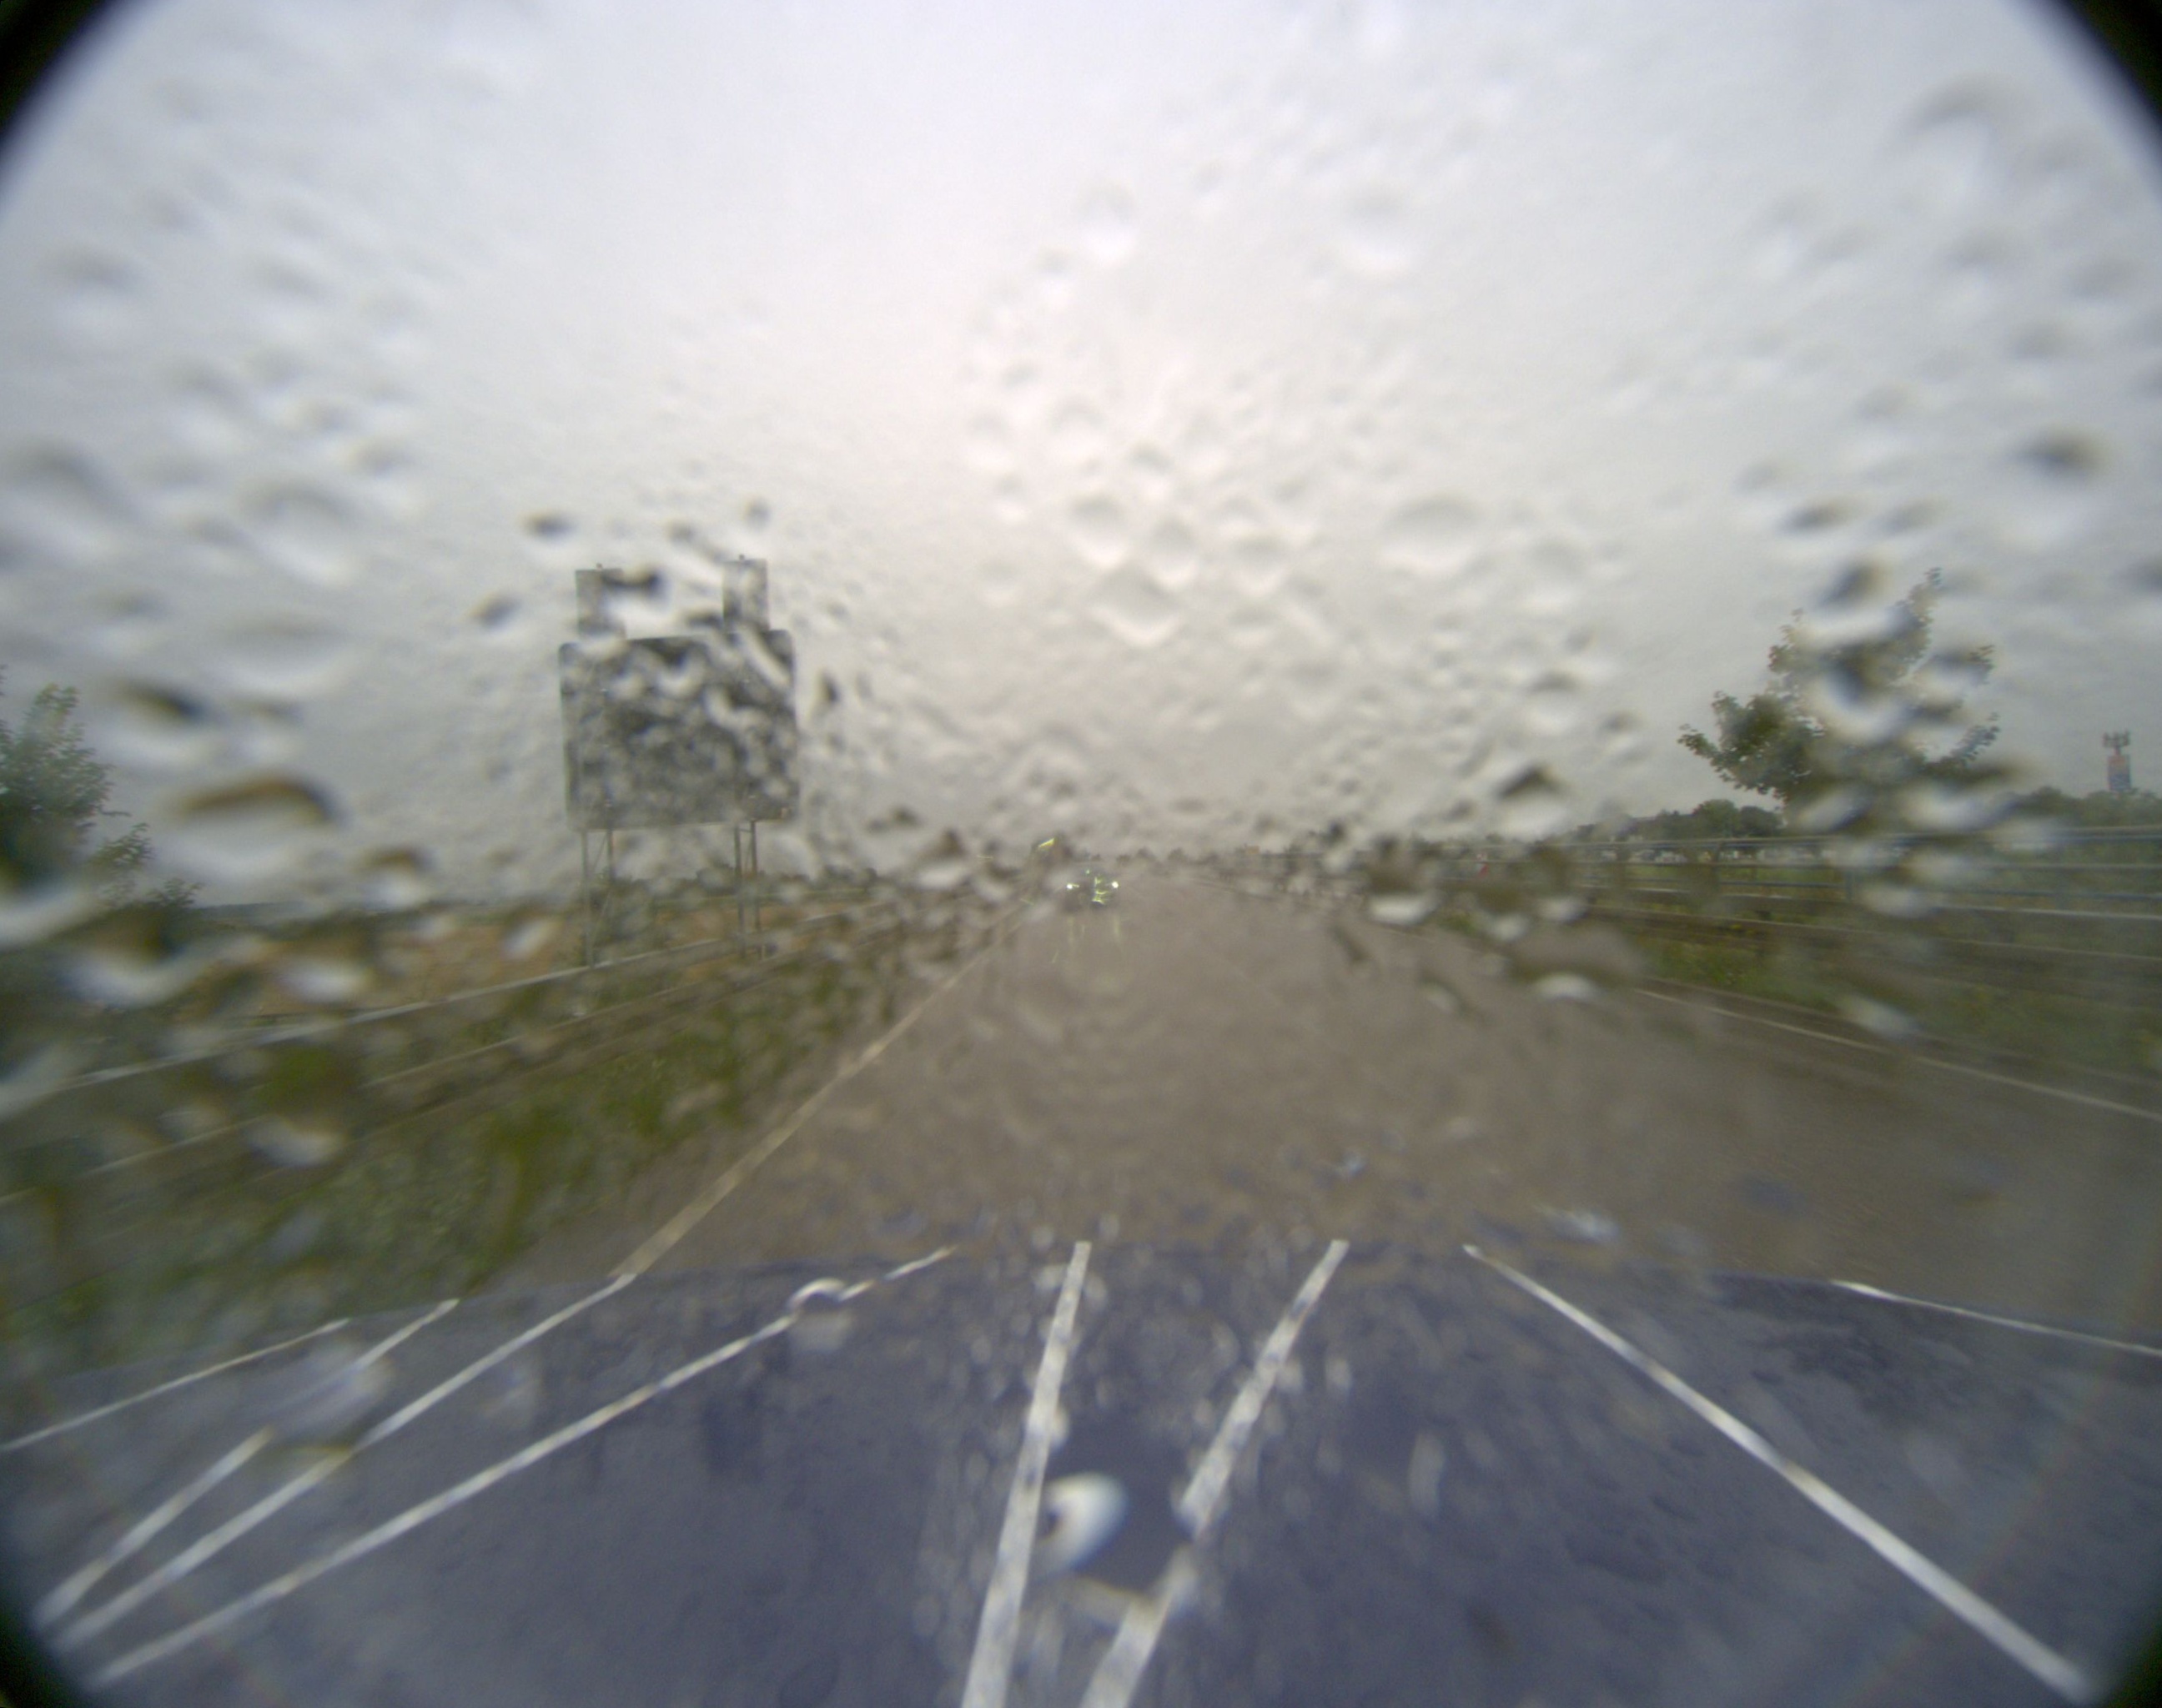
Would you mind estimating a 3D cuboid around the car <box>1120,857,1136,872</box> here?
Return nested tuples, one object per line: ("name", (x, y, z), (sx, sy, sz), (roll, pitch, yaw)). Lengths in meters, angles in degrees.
("car", (6.391, 1.449, 103.304), (1.909, 1.930, 4.565), (-2, 0, 2))

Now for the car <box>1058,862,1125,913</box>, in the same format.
("car", (0.371, 1.016, 24.548), (1.909, 1.361, 4.565), (-2, 0, 2))
